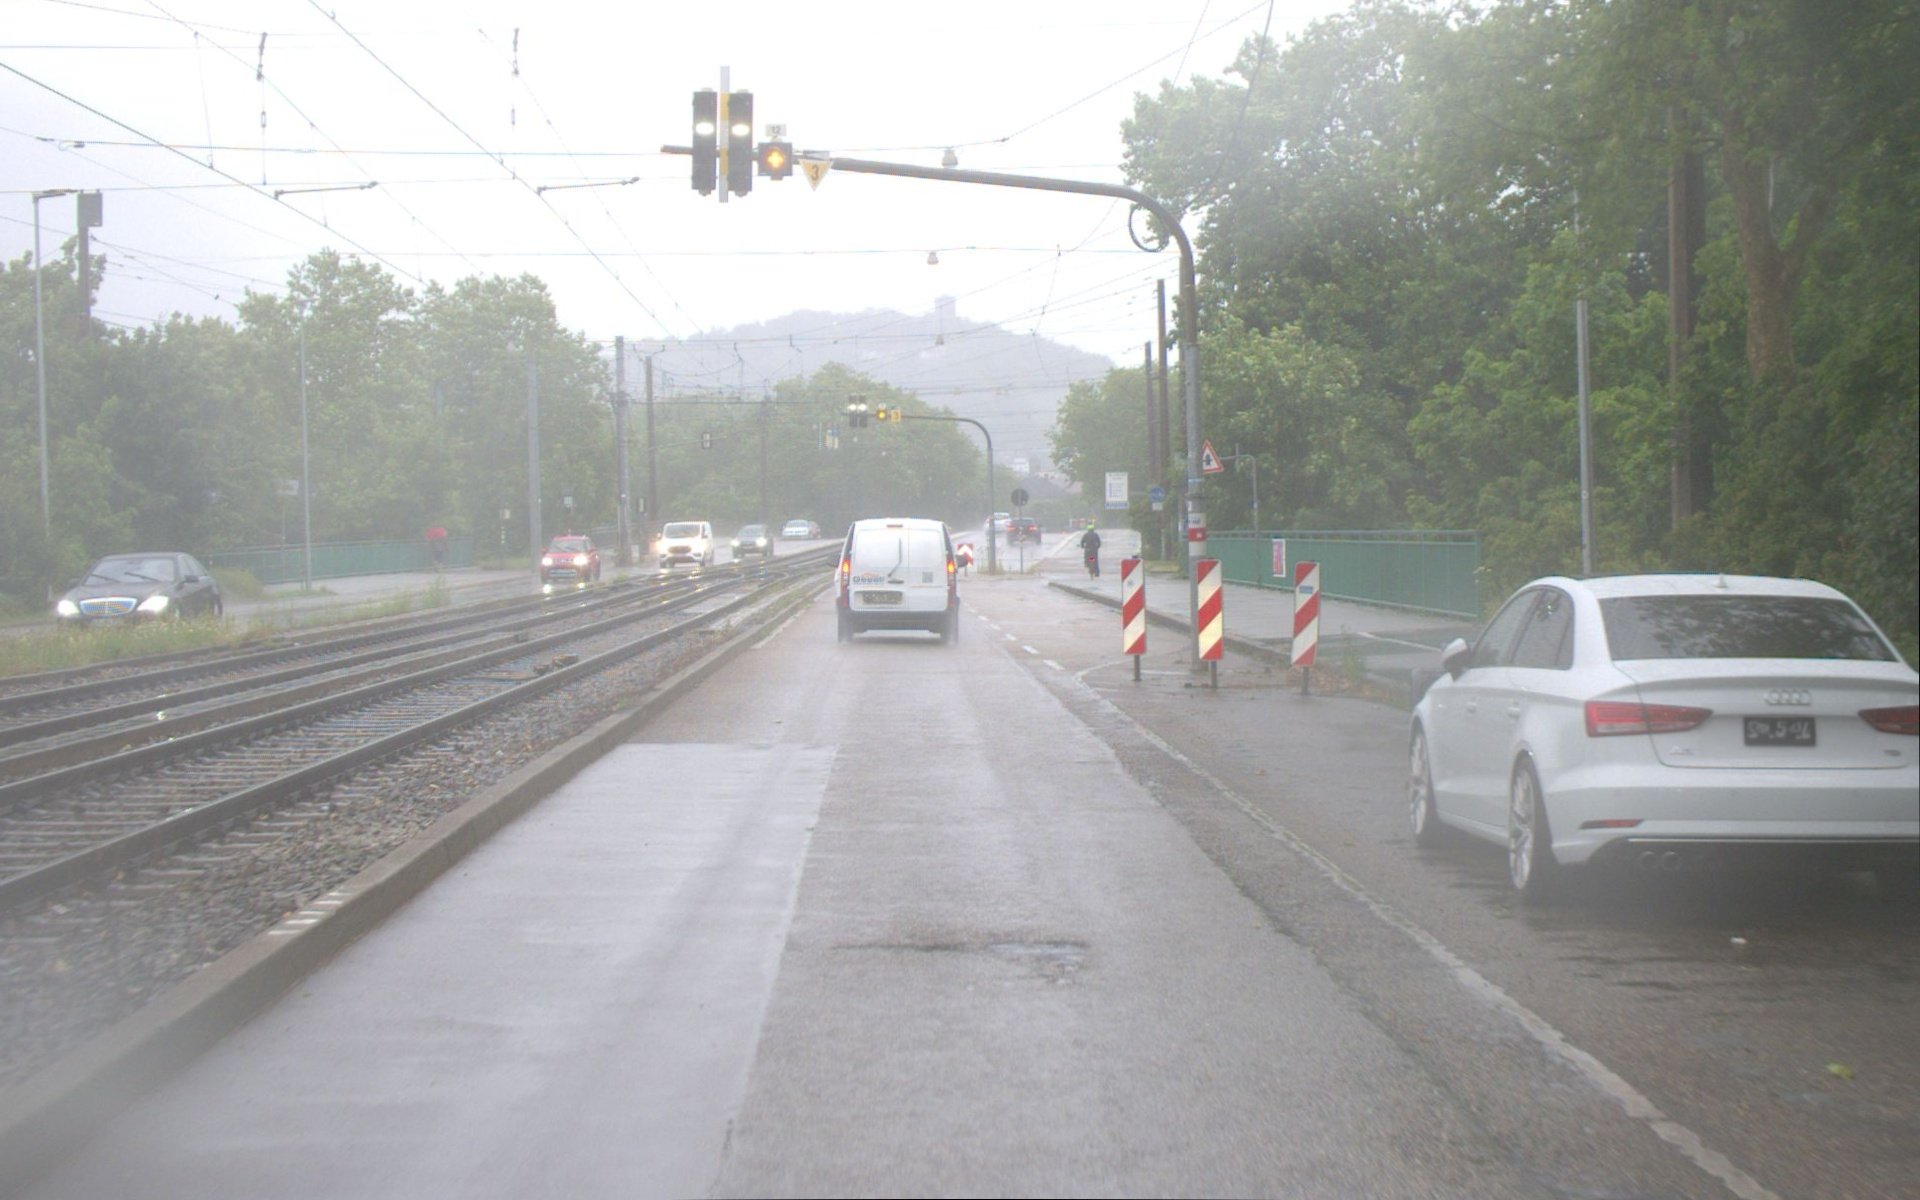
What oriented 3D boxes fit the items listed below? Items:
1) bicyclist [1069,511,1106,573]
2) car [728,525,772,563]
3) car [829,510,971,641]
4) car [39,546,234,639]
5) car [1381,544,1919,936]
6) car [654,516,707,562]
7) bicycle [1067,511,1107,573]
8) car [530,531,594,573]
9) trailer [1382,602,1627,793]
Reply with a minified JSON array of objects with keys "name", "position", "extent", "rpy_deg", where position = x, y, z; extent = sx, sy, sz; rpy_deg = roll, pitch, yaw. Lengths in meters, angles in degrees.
[{"name":"bicyclist","position":[4.227,-1.916,114.042],"extent":[1.100,2.007,1.674],"rpy_deg":[0,0,-1]},{"name":"car","position":[-10.871,-2.881,178.127],"extent":[1.993,1.941,4.000],"rpy_deg":[0,0,0]},{"name":"car","position":[-0.921,-0.383,50.530],"extent":[1.993,1.842,4.001],"rpy_deg":[0,1,-2]},{"name":"car","position":[-13.417,-0.162,56.338],"extent":[1.993,1.399,5.386],"rpy_deg":[-1,1,-1]},{"name":"car","position":[3.150,0.512,15.615],"extent":[1.819,1.481,4.481],"rpy_deg":[1,1,-1]},{"name":"car","position":[-12.287,-2.671,151.508],"extent":[1.993,2.007,4.000],"rpy_deg":[0,0,0]},{"name":"bicycle","position":[4.209,-1.909,114.148],"extent":[1.105,2.007,3.051],"rpy_deg":[0,0,-2]},{"name":"car","position":[-13.754,-1.661,118.924],"extent":[1.819,1.393,4.000],"rpy_deg":[-1,1,-1]},{"name":"trailer","position":[3.417,0.575,21.983],"extent":[1.377,1.043,3.441],"rpy_deg":[1,1,6]}]
